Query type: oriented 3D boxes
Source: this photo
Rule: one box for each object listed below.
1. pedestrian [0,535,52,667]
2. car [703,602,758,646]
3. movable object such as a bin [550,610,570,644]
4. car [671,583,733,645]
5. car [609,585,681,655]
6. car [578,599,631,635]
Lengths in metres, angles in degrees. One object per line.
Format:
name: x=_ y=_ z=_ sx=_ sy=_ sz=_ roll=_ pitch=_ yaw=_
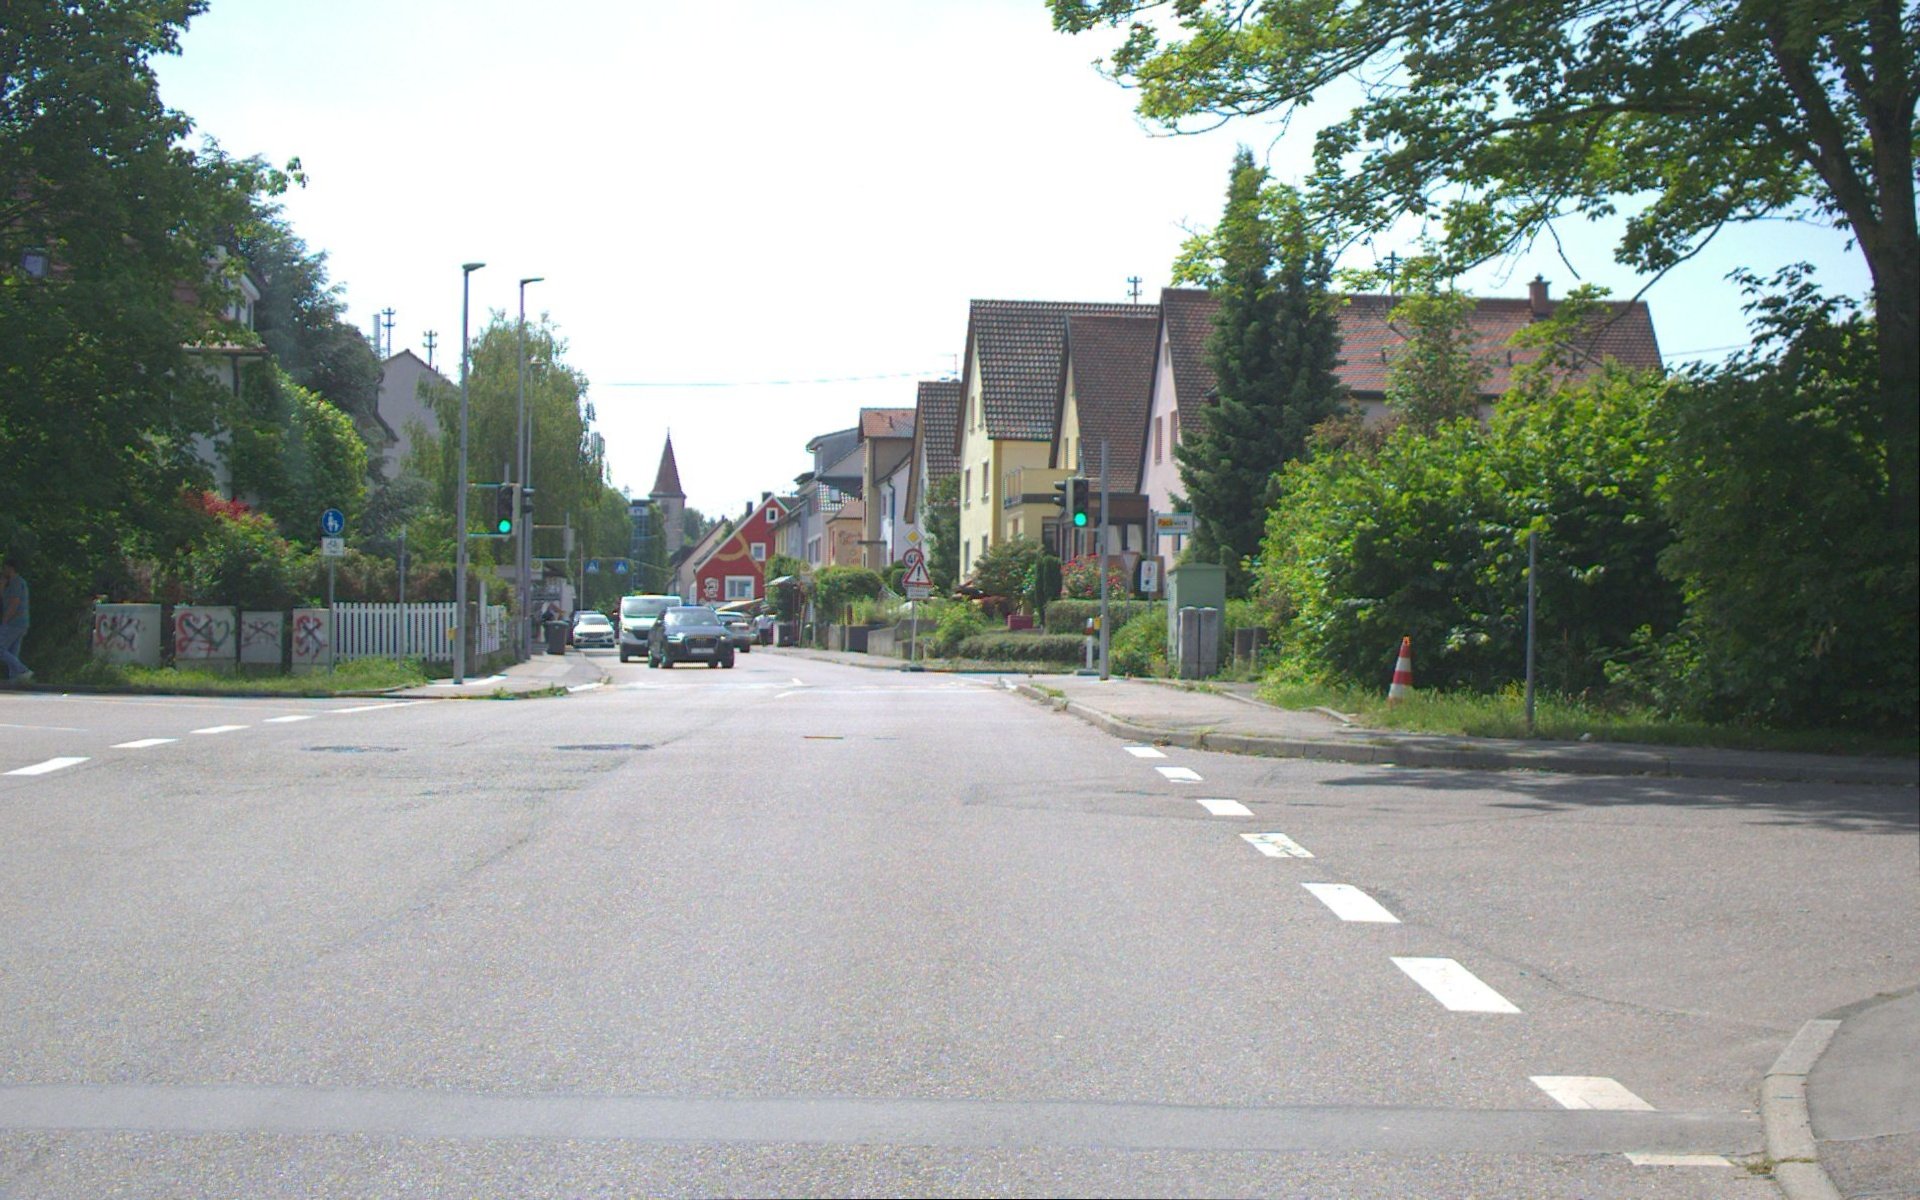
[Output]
pedestrian: x=-12.925 y=0.025 z=46.942 sx=0.736 sy=1.771 sz=0.689 roll=-2 pitch=-2 yaw=18
car: x=-9.068 y=0.946 z=136.029 sx=1.993 sy=1.598 sz=4.001 roll=0 pitch=1 yaw=-2
movable object such as a bin: x=-12.961 y=0.875 z=111.376 sx=0.607 sy=1.042 sz=0.725 roll=2 pitch=1 yaw=-7
car: x=-6.665 y=0.349 z=88.749 sx=1.534 sy=1.536 sz=4.305 roll=0 pitch=1 yaw=-5
car: x=-9.303 y=0.609 z=101.304 sx=1.879 sy=1.958 sz=4.903 roll=-1 pitch=-1 yaw=-7
car: x=-15.822 y=0.744 z=153.113 sx=2.110 sy=1.555 sz=4.314 roll=0 pitch=0 yaw=-2
